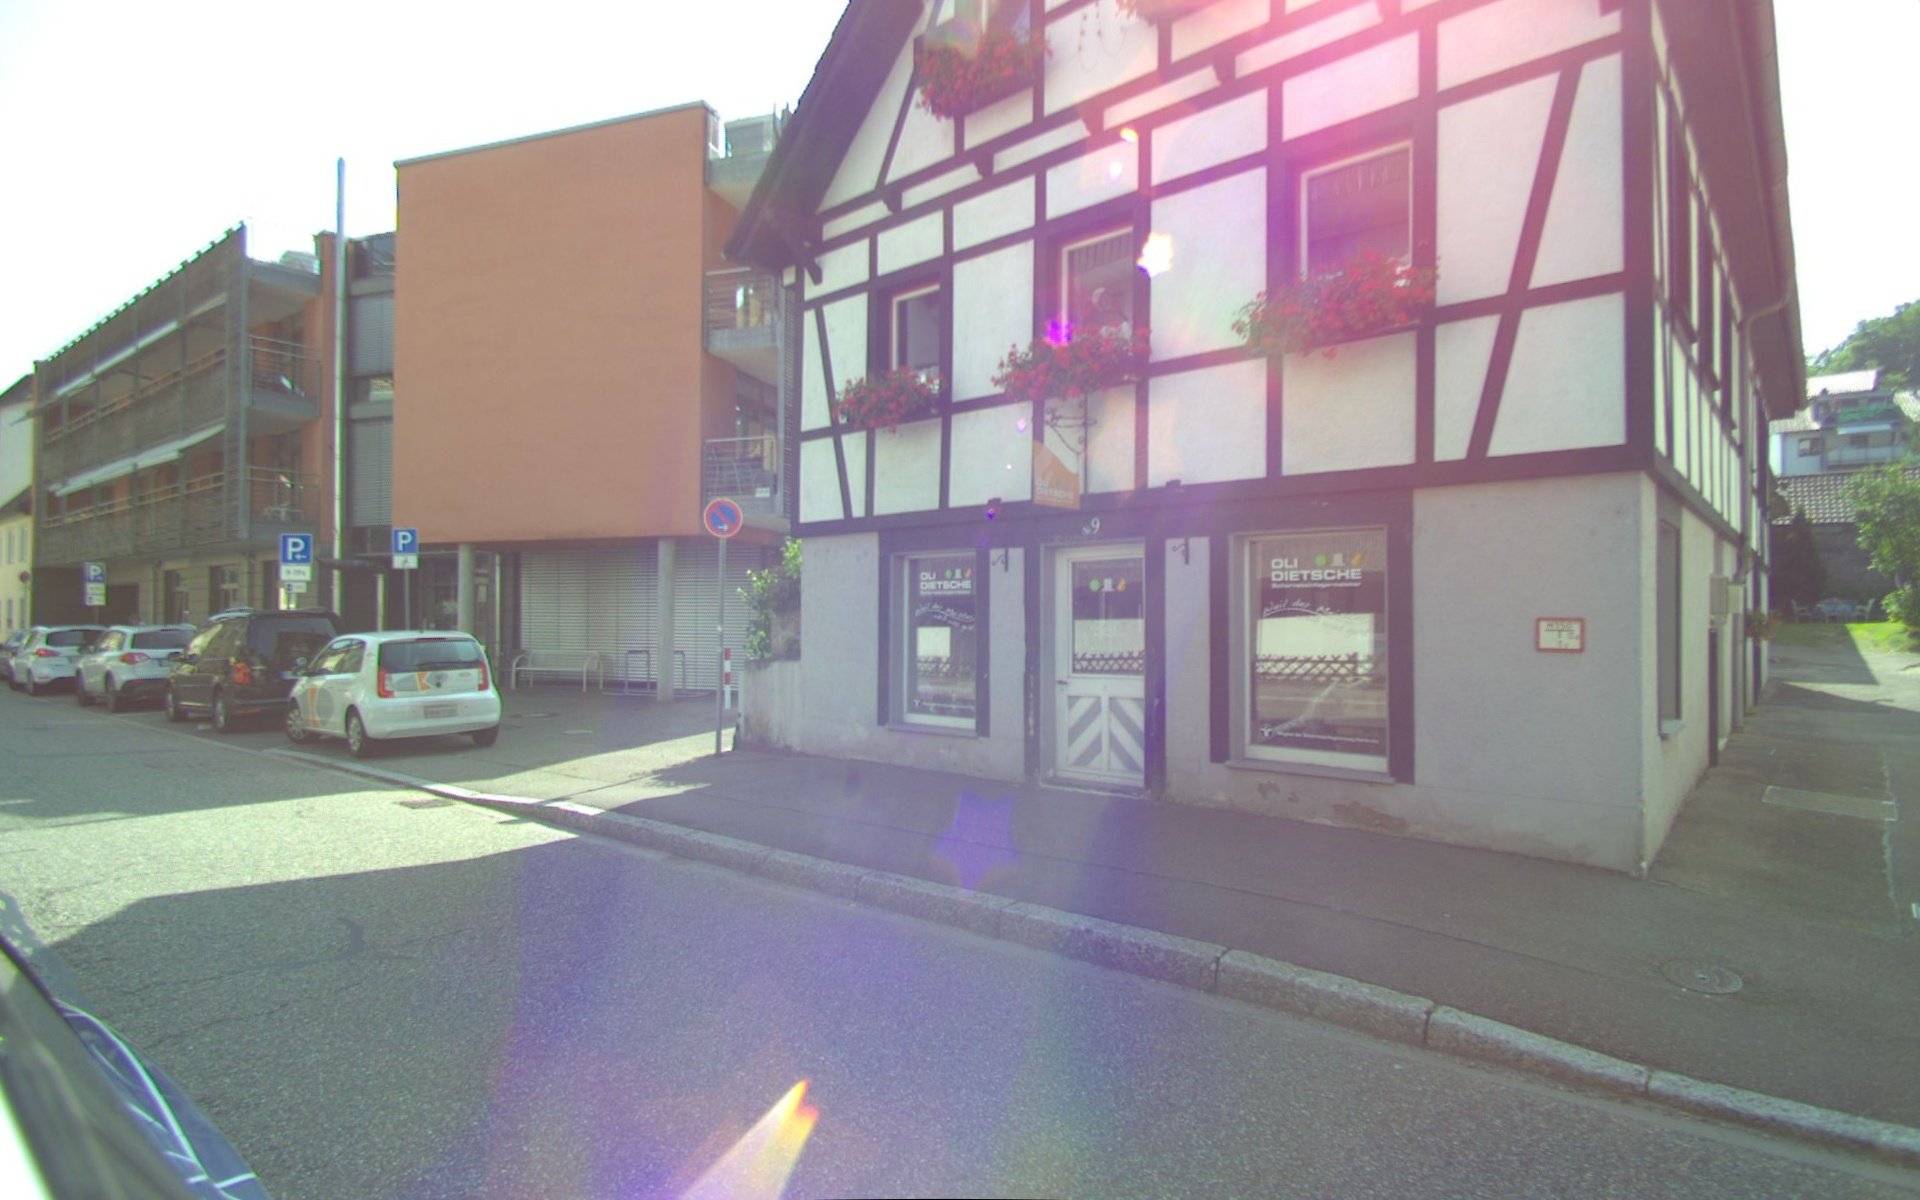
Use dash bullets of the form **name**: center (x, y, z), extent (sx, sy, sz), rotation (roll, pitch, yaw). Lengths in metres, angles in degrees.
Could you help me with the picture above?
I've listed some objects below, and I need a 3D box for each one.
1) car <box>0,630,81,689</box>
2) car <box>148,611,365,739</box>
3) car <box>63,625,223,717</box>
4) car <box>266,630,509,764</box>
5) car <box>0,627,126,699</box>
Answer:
- **car**: center (-25.255, 1.565, 27.553), extent (3.592, 1.427, 1.533), rotation (-1, 0, 41)
- **car**: center (-11.451, 1.121, 16.373), extent (4.263, 1.810, 1.703), rotation (-1, -2, 38)
- **car**: center (-16.108, 1.324, 19.896), extent (3.945, 1.601, 1.658), rotation (-2, -2, 39)
- **car**: center (-7.461, 1.155, 13.071), extent (3.566, 1.443, 1.649), rotation (-2, -1, 41)
- **car**: center (-21.325, 1.444, 24.023), extent (3.760, 1.567, 1.657), rotation (-2, -2, 39)
